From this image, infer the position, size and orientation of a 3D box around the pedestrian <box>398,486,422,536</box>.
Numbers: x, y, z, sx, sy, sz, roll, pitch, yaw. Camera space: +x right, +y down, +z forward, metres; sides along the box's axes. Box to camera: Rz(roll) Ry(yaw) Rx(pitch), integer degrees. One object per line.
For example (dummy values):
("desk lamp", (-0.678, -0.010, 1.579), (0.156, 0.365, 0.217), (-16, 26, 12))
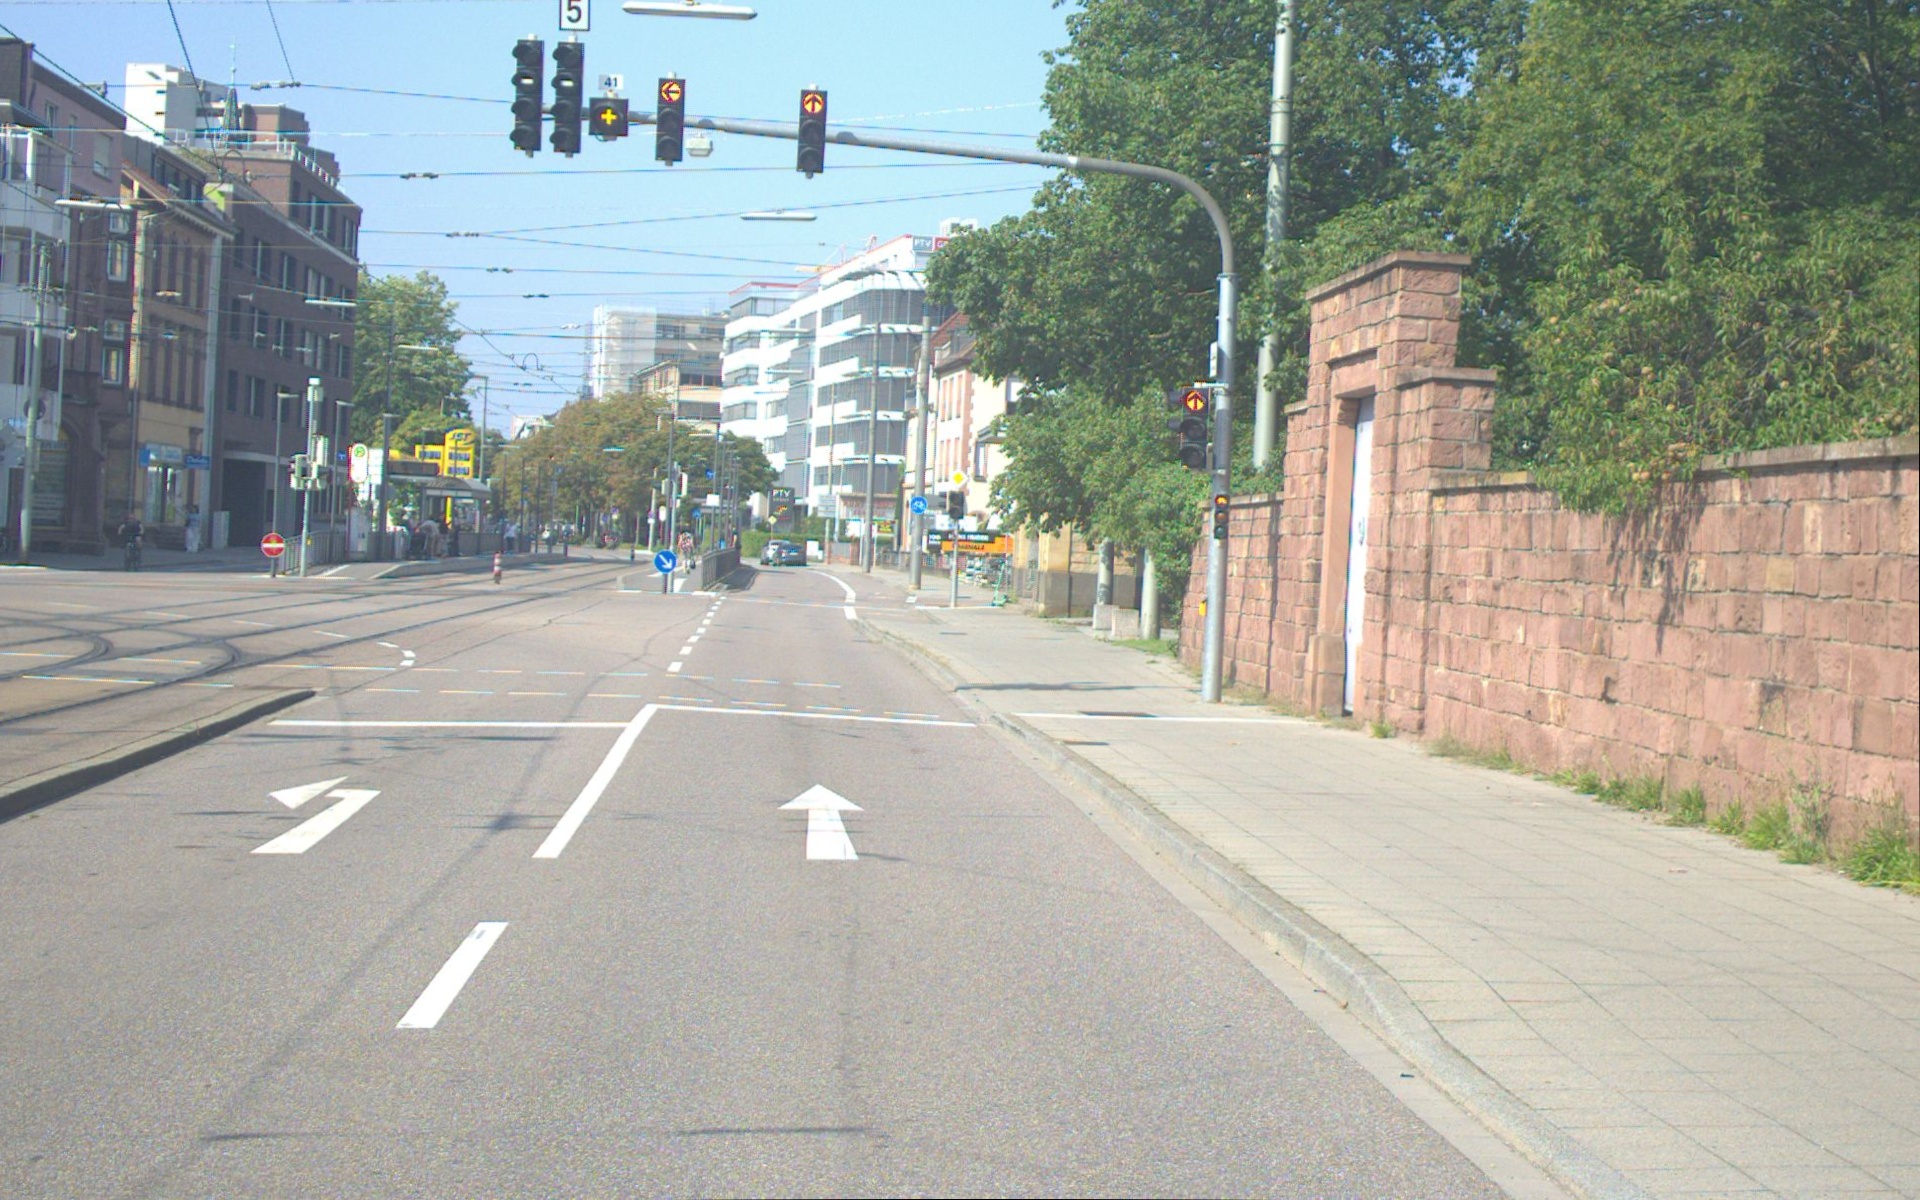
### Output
("pedestrian", (-19.096, -3.095, 119.345), (0.708, 1.717, 0.799), (1, 1, -2))

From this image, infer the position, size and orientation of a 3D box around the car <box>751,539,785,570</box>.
("car", (-12.097, -2.874, 217.098), (2.011, 1.852, 4.000), (1, 1, -2))

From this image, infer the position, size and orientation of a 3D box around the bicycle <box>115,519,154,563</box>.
("bicycle", (-22.775, -1.635, 94.865), (0.575, 1.175, 2.208), (1, 1, -1))

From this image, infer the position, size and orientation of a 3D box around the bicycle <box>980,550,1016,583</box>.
("bicycle", (1.338, -1.187, 121.990), (0.731, 1.129, 2.840), (-1, 1, -10))

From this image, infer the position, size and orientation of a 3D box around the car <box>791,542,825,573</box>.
("car", (-9.340, -2.618, 211.157), (2.011, 1.852, 4.000), (1, 1, -2))

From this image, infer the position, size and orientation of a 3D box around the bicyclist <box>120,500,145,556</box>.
("bicyclist", (-22.772, -1.973, 94.608), (0.568, 1.518, 0.490), (1, 1, -1))

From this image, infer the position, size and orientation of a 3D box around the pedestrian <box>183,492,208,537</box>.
("pedestrian", (-27.323, -3.052, 122.857), (0.483, 1.554, 0.887), (4, 0, 8))
